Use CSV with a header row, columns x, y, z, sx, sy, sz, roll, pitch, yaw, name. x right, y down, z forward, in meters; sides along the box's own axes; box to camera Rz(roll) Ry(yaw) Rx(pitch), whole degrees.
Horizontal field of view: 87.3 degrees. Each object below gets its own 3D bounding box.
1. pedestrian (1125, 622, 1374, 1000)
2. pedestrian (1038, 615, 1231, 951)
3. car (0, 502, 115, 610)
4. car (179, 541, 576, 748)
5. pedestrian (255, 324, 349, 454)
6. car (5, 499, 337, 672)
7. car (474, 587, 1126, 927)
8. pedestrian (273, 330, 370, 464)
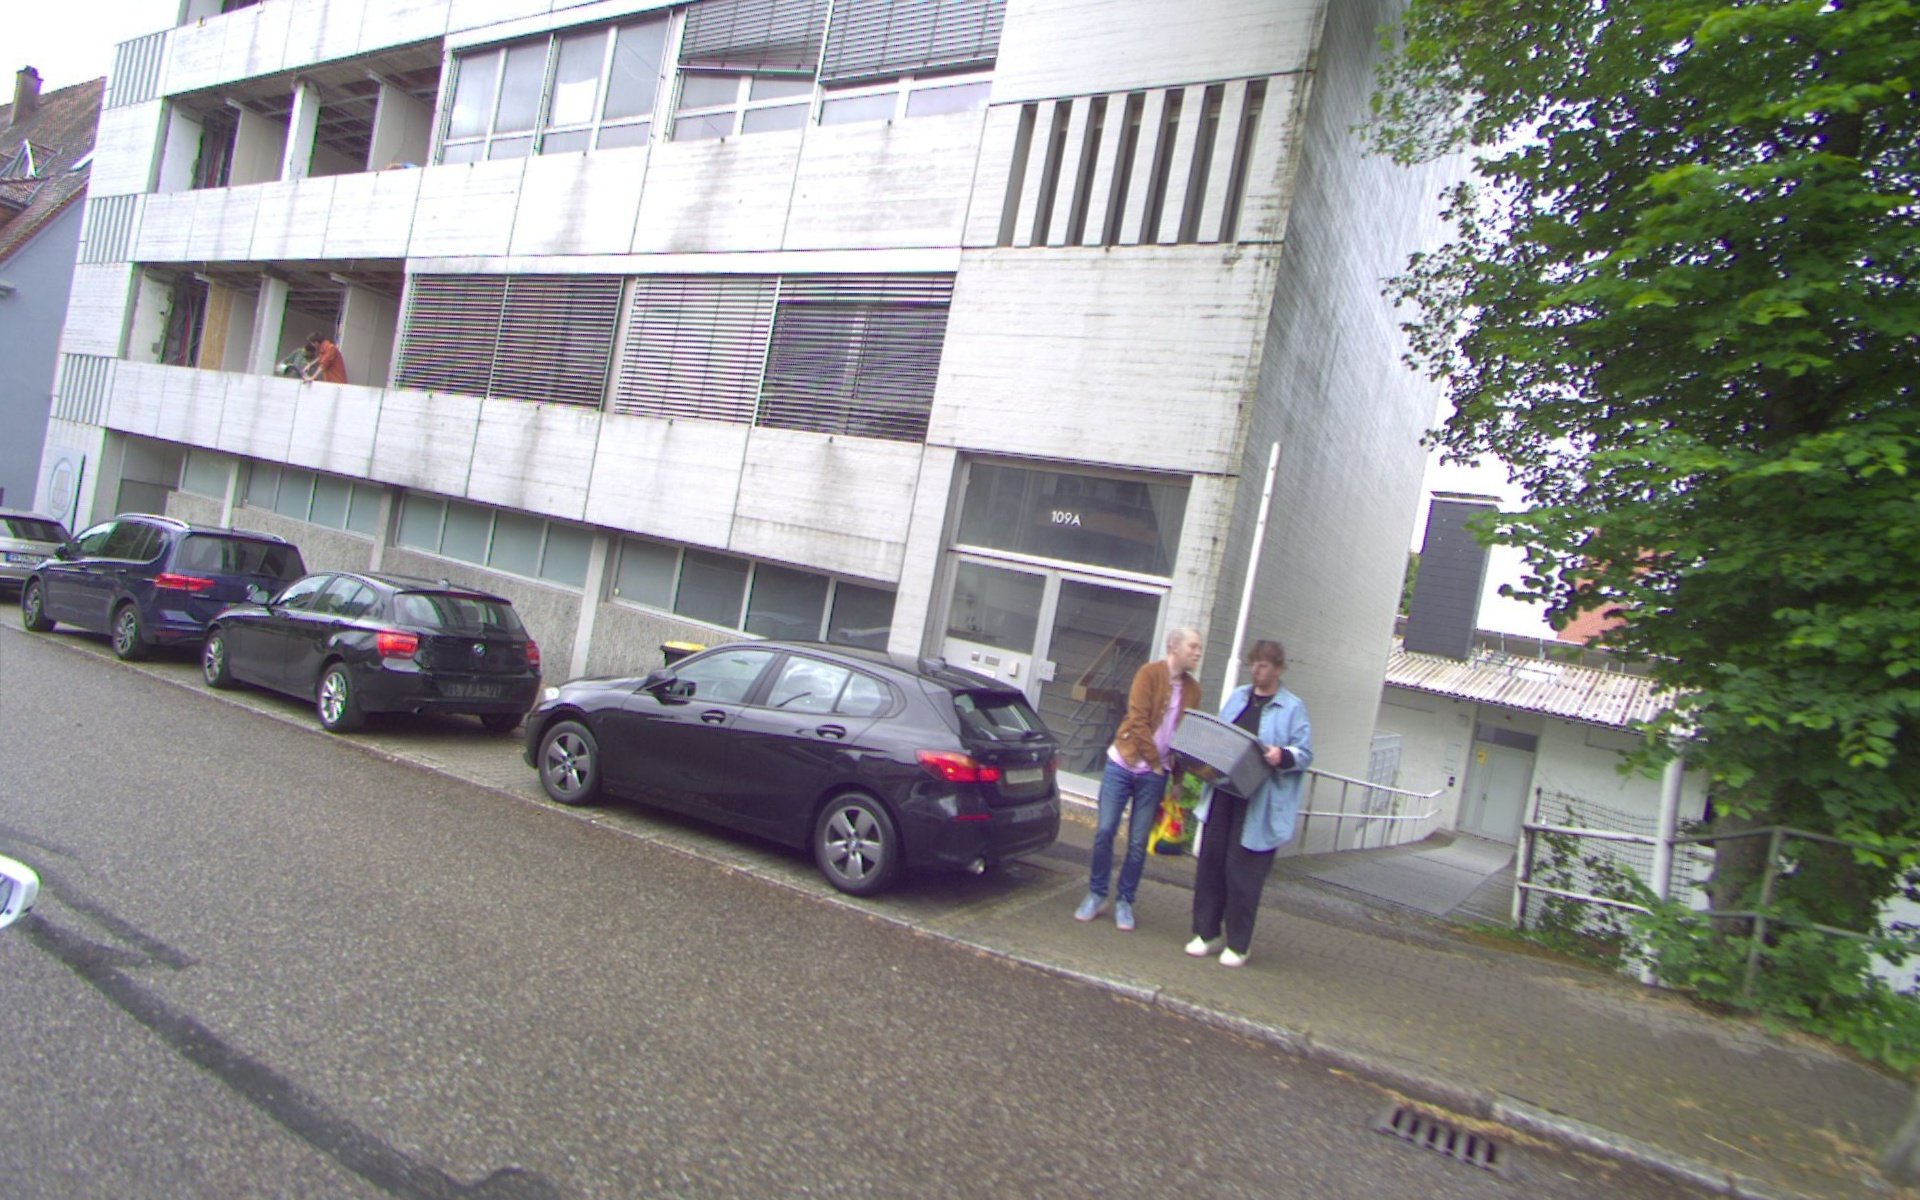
x,y,z,sx,sy,sz,roll,pitch,yaw,name
1.653,1.119,5.651,0.812,1.801,1.071,6,-3,38,pedestrian
1.132,1.084,6.315,0.809,1.802,1.075,7,-2,20,pedestrian
-16.184,-0.899,16.570,4.449,1.465,1.966,7,-1,30,car
-6.021,0.376,10.241,4.183,1.465,1.750,7,-1,34,car
-11.665,-3.708,17.854,0.846,2.037,0.909,6,-2,31,pedestrian
-9.899,-0.202,12.568,4.090,1.618,1.732,7,-1,30,car
-1.255,0.948,7.481,4.367,1.451,1.999,7,-2,30,car
-10.905,-3.435,17.186,0.846,2.037,0.909,6,-2,31,pedestrian
